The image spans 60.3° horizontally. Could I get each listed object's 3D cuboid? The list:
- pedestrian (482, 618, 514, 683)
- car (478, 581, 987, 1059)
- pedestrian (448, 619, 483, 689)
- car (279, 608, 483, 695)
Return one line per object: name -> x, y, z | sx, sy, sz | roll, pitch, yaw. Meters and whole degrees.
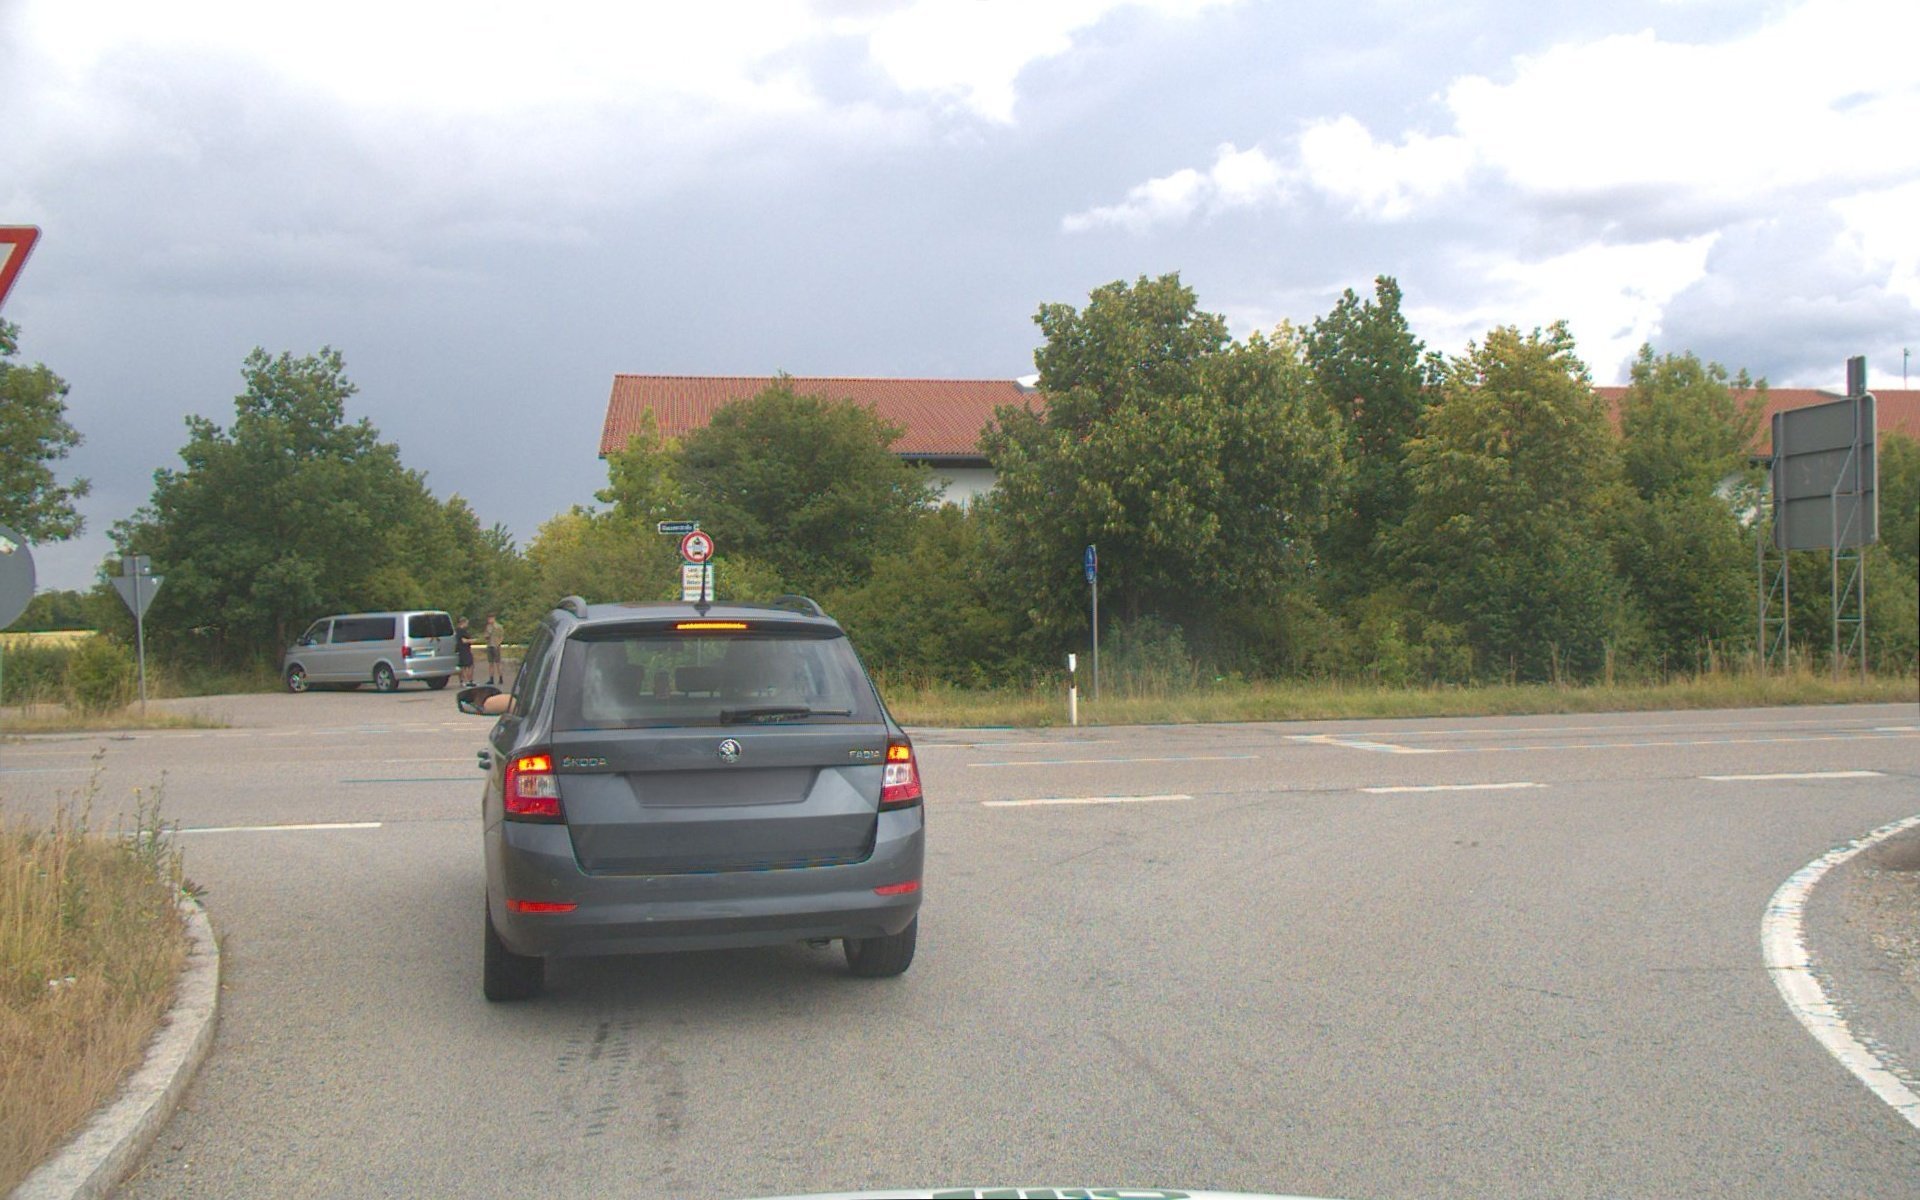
pedestrian -> -12.306, 1.345, 44.041 | 0.571, 1.712, 0.566 | -1, 1, 16
car -> -1.219, 0.677, 7.166 | 1.649, 1.488, 3.690 | 0, 0, -17
pedestrian -> -12.638, 1.367, 42.270 | 0.518, 1.756, 0.641 | -1, 1, 28
car -> -14.925, 1.292, 42.603 | 4.806, 2.048, 2.338 | -1, 1, 30
